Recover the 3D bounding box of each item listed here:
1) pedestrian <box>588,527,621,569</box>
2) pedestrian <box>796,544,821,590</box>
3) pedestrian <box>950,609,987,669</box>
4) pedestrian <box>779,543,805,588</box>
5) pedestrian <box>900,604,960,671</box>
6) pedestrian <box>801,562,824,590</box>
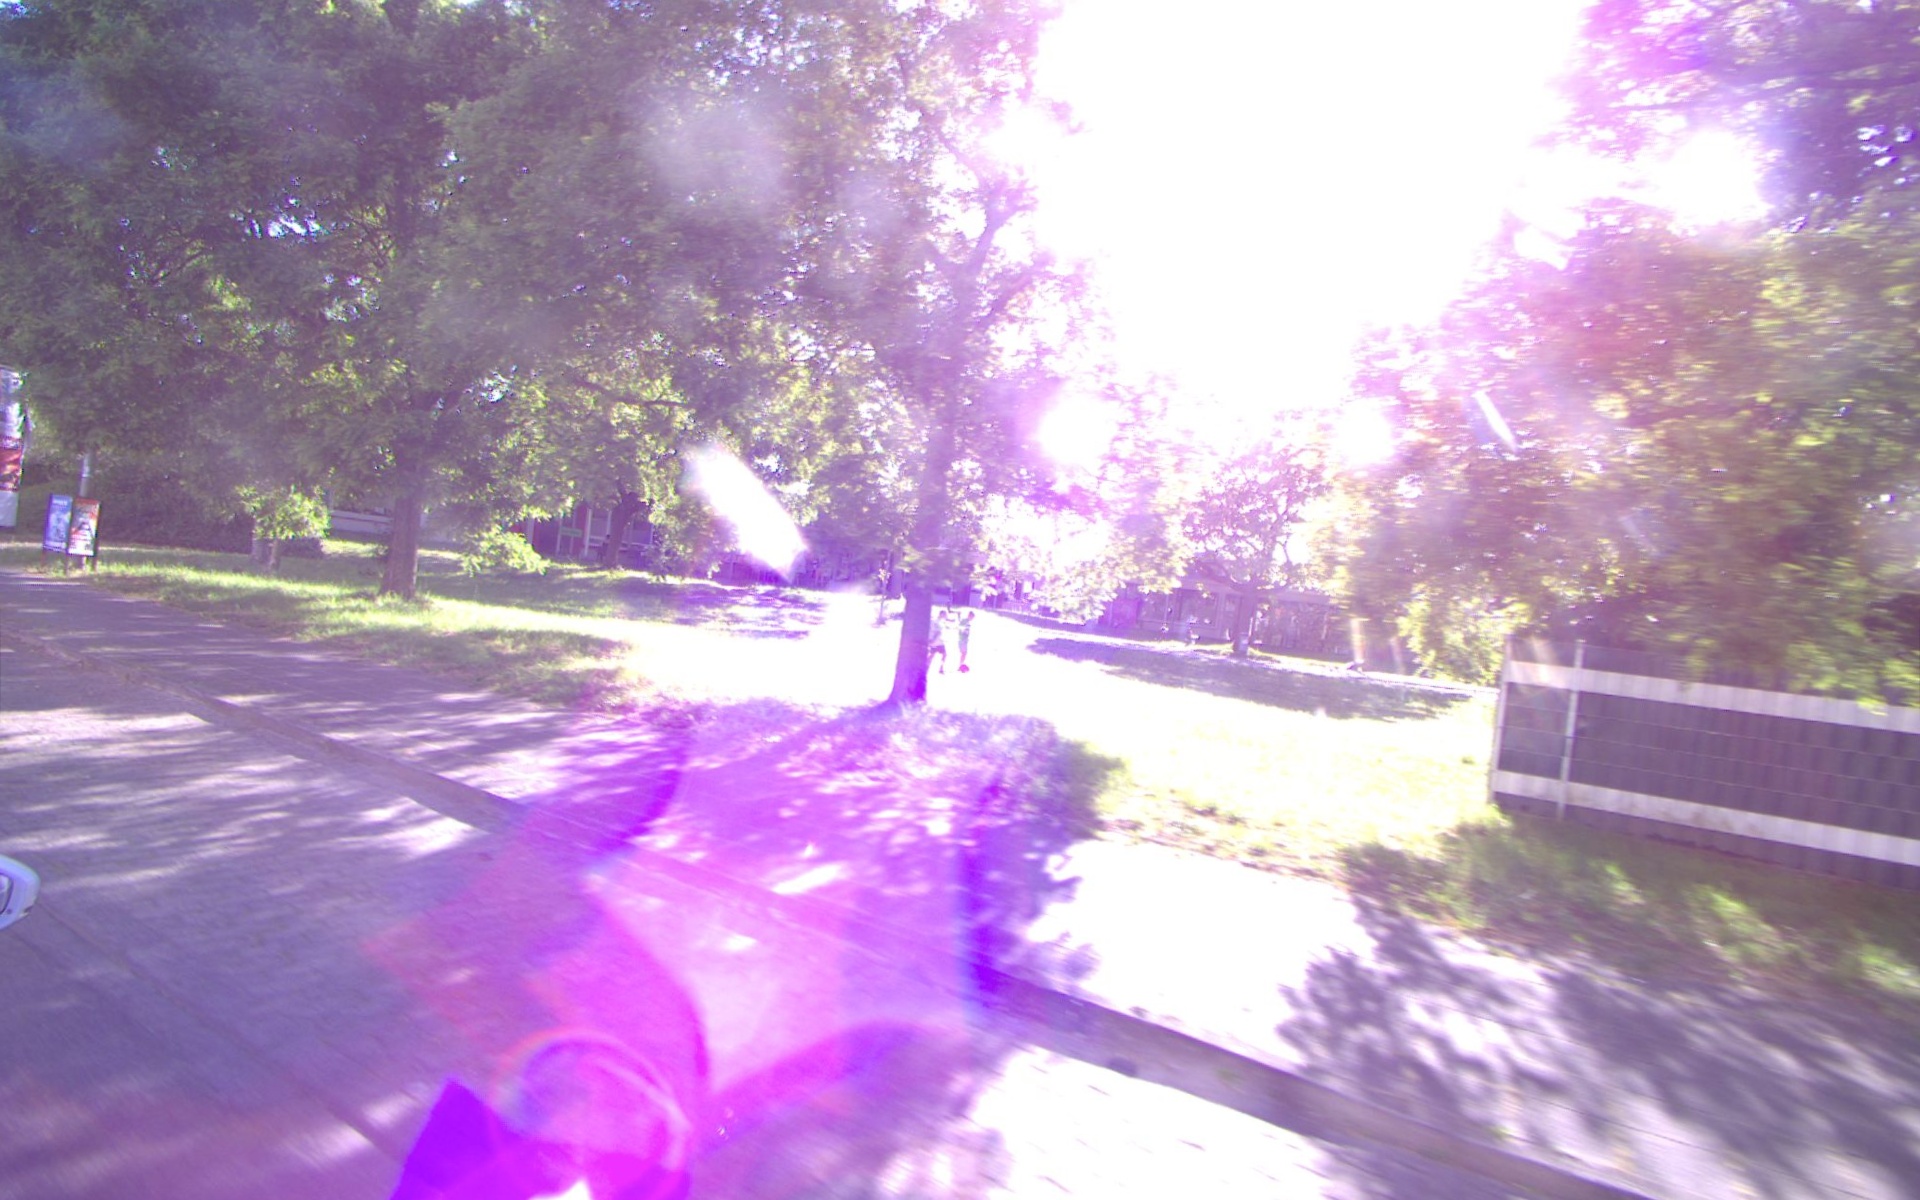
[{"bbox_3d":[-14.693,-2.144,41.573,0.849,1.596,1.079,5,1,-36],"label":"pedestrian"},{"bbox_3d":[-7.128,-1.536,47.439,0.825,2.039,0.636,6,1,7],"label":"pedestrian"},{"bbox_3d":[0.167,0.767,19.933,0.498,1.103,0.634,7,2,11],"label":"pedestrian"},{"bbox_3d":[-7.944,-1.630,47.559,0.841,2.039,0.636,7,2,17],"label":"pedestrian"},{"bbox_3d":[-0.558,0.690,18.466,0.718,1.103,0.695,5,2,-42],"label":"pedestrian"},{"bbox_3d":[-7.374,-1.200,50.379,0.830,1.288,0.762,6,1,-25],"label":"pedestrian"}]
